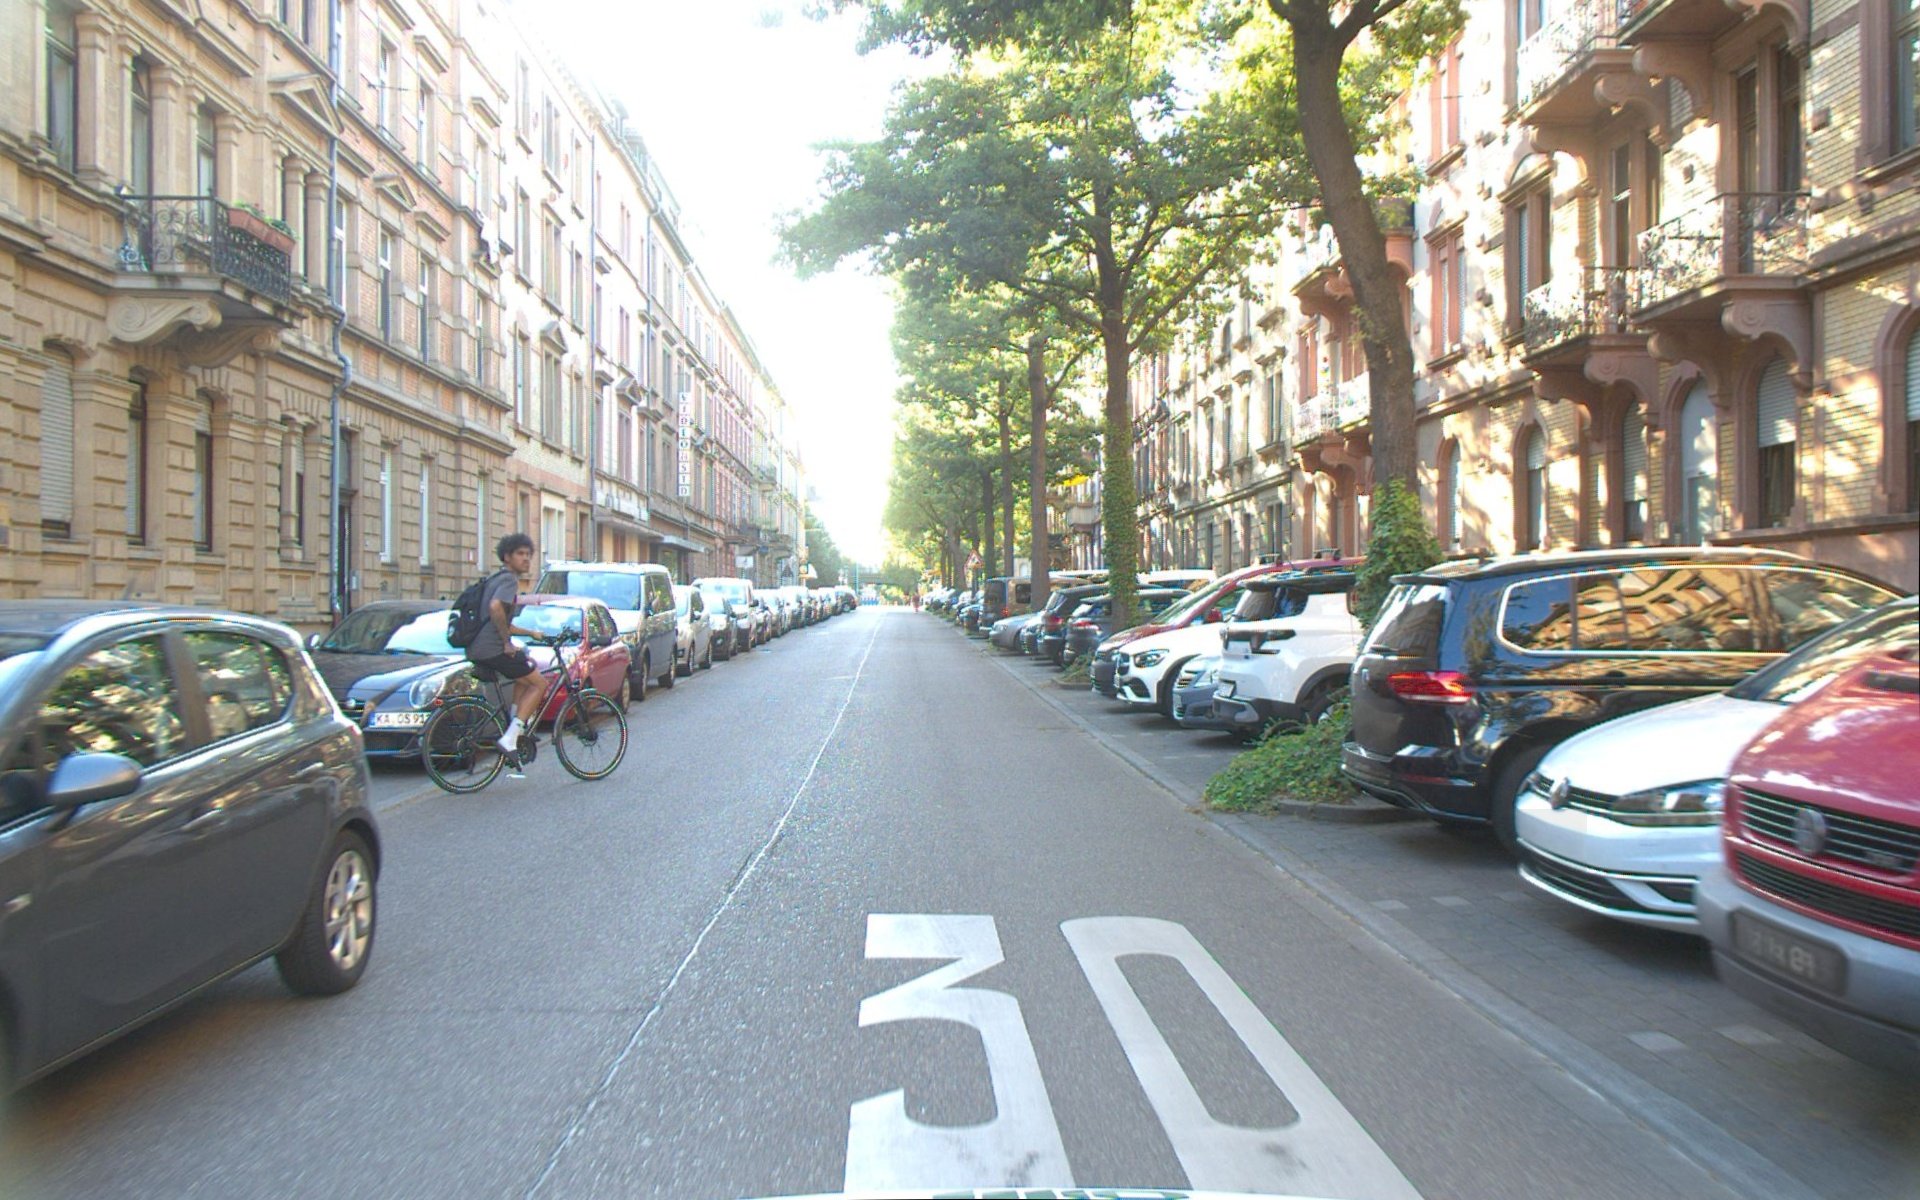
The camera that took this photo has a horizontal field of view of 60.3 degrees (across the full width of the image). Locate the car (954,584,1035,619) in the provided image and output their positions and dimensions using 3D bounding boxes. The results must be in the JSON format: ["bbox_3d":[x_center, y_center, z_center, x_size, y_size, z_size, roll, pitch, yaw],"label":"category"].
[{"bbox_3d":[1.740,0.080,83.928,3.781,1.601,1.714,-2,0,-11],"label":"car"}]

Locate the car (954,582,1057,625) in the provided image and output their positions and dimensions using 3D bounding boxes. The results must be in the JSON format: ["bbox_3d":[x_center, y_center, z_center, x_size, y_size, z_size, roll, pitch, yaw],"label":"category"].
[{"bbox_3d":[1.746,0.130,64.218,3.776,1.505,1.716,-2,0,-6],"label":"car"}]

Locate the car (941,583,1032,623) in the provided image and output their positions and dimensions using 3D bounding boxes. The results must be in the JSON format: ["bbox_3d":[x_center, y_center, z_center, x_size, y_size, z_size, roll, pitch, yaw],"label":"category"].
[{"bbox_3d":[1.183,0.132,74.156,3.781,1.601,1.714,-2,0,-11],"label":"car"}]

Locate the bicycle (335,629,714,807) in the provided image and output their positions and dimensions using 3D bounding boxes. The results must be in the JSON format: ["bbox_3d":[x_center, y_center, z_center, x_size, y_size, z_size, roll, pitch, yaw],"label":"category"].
[{"bbox_3d":[-3.453,0.883,13.434,0.981,1.178,2.905,0,1,42],"label":"bicycle"}]

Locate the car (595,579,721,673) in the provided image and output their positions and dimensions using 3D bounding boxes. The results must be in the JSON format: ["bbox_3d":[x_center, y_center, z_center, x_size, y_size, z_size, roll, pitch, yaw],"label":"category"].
[{"bbox_3d":[-5.726,0.458,31.804,1.718,1.636,4.382,1,0,-2],"label":"car"}]

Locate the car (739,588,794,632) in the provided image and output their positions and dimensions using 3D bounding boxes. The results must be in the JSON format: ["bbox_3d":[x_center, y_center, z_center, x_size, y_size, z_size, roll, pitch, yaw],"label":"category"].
[{"bbox_3d":[-6.882,0.322,59.185,1.724,1.498,4.056,-1,0,-4],"label":"car"}]

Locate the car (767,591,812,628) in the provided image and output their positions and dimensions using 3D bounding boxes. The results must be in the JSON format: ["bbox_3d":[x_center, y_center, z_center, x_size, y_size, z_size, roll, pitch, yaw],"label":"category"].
[{"bbox_3d":[-7.204,0.366,70.194,1.724,1.498,4.056,-1,0,-4],"label":"car"}]

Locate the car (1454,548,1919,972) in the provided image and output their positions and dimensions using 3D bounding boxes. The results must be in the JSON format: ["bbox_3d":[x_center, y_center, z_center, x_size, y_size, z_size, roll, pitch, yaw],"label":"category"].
[{"bbox_3d":[4.733,0.533,7.173,4.580,1.541,1.878,-2,0,-1],"label":"car"}]

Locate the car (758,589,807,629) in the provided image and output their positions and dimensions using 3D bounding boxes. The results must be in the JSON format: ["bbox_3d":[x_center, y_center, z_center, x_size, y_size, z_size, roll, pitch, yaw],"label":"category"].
[{"bbox_3d":[-6.982,0.318,65.437,1.724,1.498,4.056,-1,0,-4],"label":"car"}]

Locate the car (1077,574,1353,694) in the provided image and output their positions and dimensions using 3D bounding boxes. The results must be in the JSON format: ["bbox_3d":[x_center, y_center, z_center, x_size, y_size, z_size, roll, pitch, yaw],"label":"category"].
[{"bbox_3d":[3.705,0.457,24.340,3.591,1.480,1.846,-3,1,-9],"label":"car"}]

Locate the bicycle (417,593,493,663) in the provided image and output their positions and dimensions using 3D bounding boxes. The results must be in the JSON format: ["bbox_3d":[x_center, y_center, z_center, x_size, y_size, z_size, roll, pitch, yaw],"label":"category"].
[{"bbox_3d":[-9.685,0.507,31.823,0.725,1.277,2.825,1,0,-3],"label":"bicycle"}]

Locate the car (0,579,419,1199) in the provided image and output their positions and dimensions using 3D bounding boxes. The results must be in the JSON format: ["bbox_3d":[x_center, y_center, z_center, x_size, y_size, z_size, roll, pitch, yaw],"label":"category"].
[{"bbox_3d":[-3.136,0.728,4.867,1.722,1.527,4.060,-1,0,0],"label":"car"}]

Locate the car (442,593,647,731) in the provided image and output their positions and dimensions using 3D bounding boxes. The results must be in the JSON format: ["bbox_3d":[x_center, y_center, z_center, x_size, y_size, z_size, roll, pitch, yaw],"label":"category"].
[{"bbox_3d":[-4.980,0.683,20.271,1.560,1.501,3.699,1,0,0],"label":"car"}]

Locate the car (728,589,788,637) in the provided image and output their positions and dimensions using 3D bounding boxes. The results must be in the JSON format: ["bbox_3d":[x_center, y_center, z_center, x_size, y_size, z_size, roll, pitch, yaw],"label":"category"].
[{"bbox_3d":[-6.595,0.387,54.327,1.724,1.498,4.056,-1,0,-4],"label":"car"}]

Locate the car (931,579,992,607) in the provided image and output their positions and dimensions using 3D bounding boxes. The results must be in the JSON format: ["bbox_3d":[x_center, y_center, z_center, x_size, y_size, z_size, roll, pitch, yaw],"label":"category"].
[{"bbox_3d":[0.111,-0.438,106.256,3.774,1.601,1.717,-2,0,-3],"label":"car"}]

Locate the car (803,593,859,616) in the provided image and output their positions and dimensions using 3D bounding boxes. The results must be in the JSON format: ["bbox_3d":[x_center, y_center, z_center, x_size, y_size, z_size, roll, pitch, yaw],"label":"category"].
[{"bbox_3d":[-8.816,0.313,113.279,1.956,1.512,3.992,-2,-2,30],"label":"car"}]

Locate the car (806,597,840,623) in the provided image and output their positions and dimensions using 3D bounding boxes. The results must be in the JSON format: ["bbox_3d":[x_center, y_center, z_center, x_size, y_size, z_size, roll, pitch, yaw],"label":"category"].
[{"bbox_3d":[-8.510,0.619,102.800,1.954,1.512,3.997,-1,-2,-3],"label":"car"}]

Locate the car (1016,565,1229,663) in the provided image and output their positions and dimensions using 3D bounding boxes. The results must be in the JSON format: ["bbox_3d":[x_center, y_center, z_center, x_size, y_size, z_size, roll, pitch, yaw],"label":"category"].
[{"bbox_3d":[3.351,0.275,34.627,4.137,1.807,1.834,-2,0,-4],"label":"car"}]

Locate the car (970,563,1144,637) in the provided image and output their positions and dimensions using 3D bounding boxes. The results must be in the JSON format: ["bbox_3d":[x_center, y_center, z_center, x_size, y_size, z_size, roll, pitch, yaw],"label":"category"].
[{"bbox_3d":[2.832,-0.006,49.066,4.956,1.959,1.834,-2,0,-3],"label":"car"}]

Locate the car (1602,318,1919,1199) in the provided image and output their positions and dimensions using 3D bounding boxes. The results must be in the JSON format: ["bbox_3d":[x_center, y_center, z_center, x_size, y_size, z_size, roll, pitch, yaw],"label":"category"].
[{"bbox_3d":[4.449,0.312,4.550,4.582,2.069,1.878,-2,0,-3],"label":"car"}]

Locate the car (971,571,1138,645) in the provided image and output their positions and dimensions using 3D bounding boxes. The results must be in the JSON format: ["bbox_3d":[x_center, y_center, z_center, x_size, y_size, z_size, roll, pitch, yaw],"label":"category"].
[{"bbox_3d":[2.577,0.203,45.316,4.162,1.826,1.823,-3,0,-22],"label":"car"}]

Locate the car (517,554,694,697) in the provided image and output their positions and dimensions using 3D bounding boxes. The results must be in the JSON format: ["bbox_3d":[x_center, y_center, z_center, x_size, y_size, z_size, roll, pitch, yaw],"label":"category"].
[{"bbox_3d":[-5.402,0.345,25.888,1.795,1.977,5.258,1,0,-2],"label":"car"}]

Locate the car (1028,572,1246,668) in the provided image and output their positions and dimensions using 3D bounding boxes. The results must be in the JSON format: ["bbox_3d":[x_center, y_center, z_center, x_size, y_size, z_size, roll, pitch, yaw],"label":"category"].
[{"bbox_3d":[3.372,0.374,31.977,3.930,1.635,1.733,-2,0,-3],"label":"car"}]

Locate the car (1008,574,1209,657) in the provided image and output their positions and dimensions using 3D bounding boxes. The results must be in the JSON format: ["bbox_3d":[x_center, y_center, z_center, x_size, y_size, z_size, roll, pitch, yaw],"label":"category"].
[{"bbox_3d":[3.322,0.324,37.331,4.144,1.639,1.831,-2,0,-10],"label":"car"}]

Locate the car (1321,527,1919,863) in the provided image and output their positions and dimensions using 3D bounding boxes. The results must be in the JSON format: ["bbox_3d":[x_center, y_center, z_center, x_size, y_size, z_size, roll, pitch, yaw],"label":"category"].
[{"bbox_3d":[4.369,0.474,9.615,4.100,1.656,1.837,-2,0,1],"label":"car"}]

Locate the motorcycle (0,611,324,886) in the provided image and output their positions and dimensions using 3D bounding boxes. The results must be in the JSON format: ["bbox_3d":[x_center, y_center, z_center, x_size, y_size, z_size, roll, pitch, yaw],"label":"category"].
[{"bbox_3d":[-4.727,0.775,9.839,1.045,1.394,2.604,0,0,-4],"label":"motorcycle"}]

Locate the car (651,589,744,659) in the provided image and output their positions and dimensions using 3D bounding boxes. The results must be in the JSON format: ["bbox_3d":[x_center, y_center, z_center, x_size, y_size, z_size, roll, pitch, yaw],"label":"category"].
[{"bbox_3d":[-6.011,0.517,38.223,1.724,1.493,3.997,2,0,-4],"label":"car"}]

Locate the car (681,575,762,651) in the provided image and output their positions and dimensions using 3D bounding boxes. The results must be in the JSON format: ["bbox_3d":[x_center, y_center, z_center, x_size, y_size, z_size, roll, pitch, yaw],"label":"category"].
[{"bbox_3d":[-6.167,0.305,43.186,1.724,1.874,4.526,-1,0,-4],"label":"car"}]

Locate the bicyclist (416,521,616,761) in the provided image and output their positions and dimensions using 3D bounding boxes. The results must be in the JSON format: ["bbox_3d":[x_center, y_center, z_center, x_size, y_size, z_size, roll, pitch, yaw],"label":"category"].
[{"bbox_3d":[-3.569,0.298,13.330,0.981,1.821,1.200,-1,1,43],"label":"bicyclist"}]

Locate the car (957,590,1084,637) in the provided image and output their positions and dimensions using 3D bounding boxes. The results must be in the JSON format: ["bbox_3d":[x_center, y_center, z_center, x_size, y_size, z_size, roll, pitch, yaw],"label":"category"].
[{"bbox_3d":[1.875,0.408,51.884,3.776,1.316,1.716,-2,0,-6],"label":"car"}]

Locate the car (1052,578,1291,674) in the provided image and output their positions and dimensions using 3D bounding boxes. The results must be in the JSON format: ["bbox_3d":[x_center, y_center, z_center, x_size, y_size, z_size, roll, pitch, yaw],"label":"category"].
[{"bbox_3d":[3.706,0.442,29.406,3.930,1.493,1.733,-2,0,-3],"label":"car"}]

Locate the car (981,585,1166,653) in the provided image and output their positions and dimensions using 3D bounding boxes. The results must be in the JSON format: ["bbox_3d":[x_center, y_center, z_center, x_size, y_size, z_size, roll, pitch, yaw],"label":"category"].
[{"bbox_3d":[2.684,0.438,39.680,4.141,1.428,1.832,-2,0,-7],"label":"car"}]

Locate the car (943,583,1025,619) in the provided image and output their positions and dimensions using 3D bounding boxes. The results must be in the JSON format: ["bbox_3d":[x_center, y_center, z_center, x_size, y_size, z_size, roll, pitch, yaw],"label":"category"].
[{"bbox_3d":[1.166,0.062,81.495,3.781,1.601,1.714,-2,0,-11],"label":"car"}]

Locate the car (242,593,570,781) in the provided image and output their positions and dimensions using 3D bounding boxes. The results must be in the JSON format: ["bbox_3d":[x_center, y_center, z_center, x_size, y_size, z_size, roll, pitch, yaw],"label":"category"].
[{"bbox_3d":[-5.074,0.711,15.755,1.722,1.527,4.060,-1,0,0],"label":"car"}]

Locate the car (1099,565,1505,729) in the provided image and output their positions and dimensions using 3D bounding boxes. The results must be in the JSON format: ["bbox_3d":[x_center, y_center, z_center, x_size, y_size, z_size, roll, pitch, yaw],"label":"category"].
[{"bbox_3d":[3.888,0.495,19.274,4.258,1.583,1.849,-3,1,-3],"label":"car"}]

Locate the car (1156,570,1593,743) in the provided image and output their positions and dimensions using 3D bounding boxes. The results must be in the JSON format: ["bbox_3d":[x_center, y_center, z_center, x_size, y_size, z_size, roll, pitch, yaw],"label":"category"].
[{"bbox_3d":[4.136,0.546,16.911,3.931,1.459,1.793,-3,0,-3],"label":"car"}]

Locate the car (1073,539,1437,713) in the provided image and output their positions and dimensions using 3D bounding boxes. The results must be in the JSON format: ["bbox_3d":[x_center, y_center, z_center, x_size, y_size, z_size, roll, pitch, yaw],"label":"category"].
[{"bbox_3d":[3.833,0.300,21.912,4.358,1.957,1.848,-3,1,-5],"label":"car"}]

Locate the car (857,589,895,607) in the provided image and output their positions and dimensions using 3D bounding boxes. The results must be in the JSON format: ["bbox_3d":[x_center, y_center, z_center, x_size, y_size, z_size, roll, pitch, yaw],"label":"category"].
[{"bbox_3d":[-9.244,-0.222,182.014,3.902,1.891,1.752,1,0,6],"label":"car"}]

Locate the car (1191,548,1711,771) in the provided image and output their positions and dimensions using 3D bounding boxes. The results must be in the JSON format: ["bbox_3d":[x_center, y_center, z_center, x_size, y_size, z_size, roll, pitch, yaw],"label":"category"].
[{"bbox_3d":[4.175,0.484,14.459,3.931,1.656,1.803,-2,0,-4],"label":"car"}]

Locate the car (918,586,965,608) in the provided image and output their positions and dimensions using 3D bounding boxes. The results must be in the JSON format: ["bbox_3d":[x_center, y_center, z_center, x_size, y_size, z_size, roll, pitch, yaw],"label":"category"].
[{"bbox_3d":[-1.504,-0.259,136.508,3.774,1.601,1.717,-2,0,-3],"label":"car"}]

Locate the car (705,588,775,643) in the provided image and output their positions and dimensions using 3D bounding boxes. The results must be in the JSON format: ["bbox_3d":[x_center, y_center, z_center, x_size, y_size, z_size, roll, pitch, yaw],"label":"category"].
[{"bbox_3d":[-6.380,0.425,48.231,1.724,1.498,4.056,-1,0,-4],"label":"car"}]

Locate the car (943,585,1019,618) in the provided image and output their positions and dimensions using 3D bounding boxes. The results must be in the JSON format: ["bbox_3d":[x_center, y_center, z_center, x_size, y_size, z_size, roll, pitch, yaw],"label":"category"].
[{"bbox_3d":[1.098,0.073,88.547,3.781,1.601,1.714,-2,0,-11],"label":"car"}]
